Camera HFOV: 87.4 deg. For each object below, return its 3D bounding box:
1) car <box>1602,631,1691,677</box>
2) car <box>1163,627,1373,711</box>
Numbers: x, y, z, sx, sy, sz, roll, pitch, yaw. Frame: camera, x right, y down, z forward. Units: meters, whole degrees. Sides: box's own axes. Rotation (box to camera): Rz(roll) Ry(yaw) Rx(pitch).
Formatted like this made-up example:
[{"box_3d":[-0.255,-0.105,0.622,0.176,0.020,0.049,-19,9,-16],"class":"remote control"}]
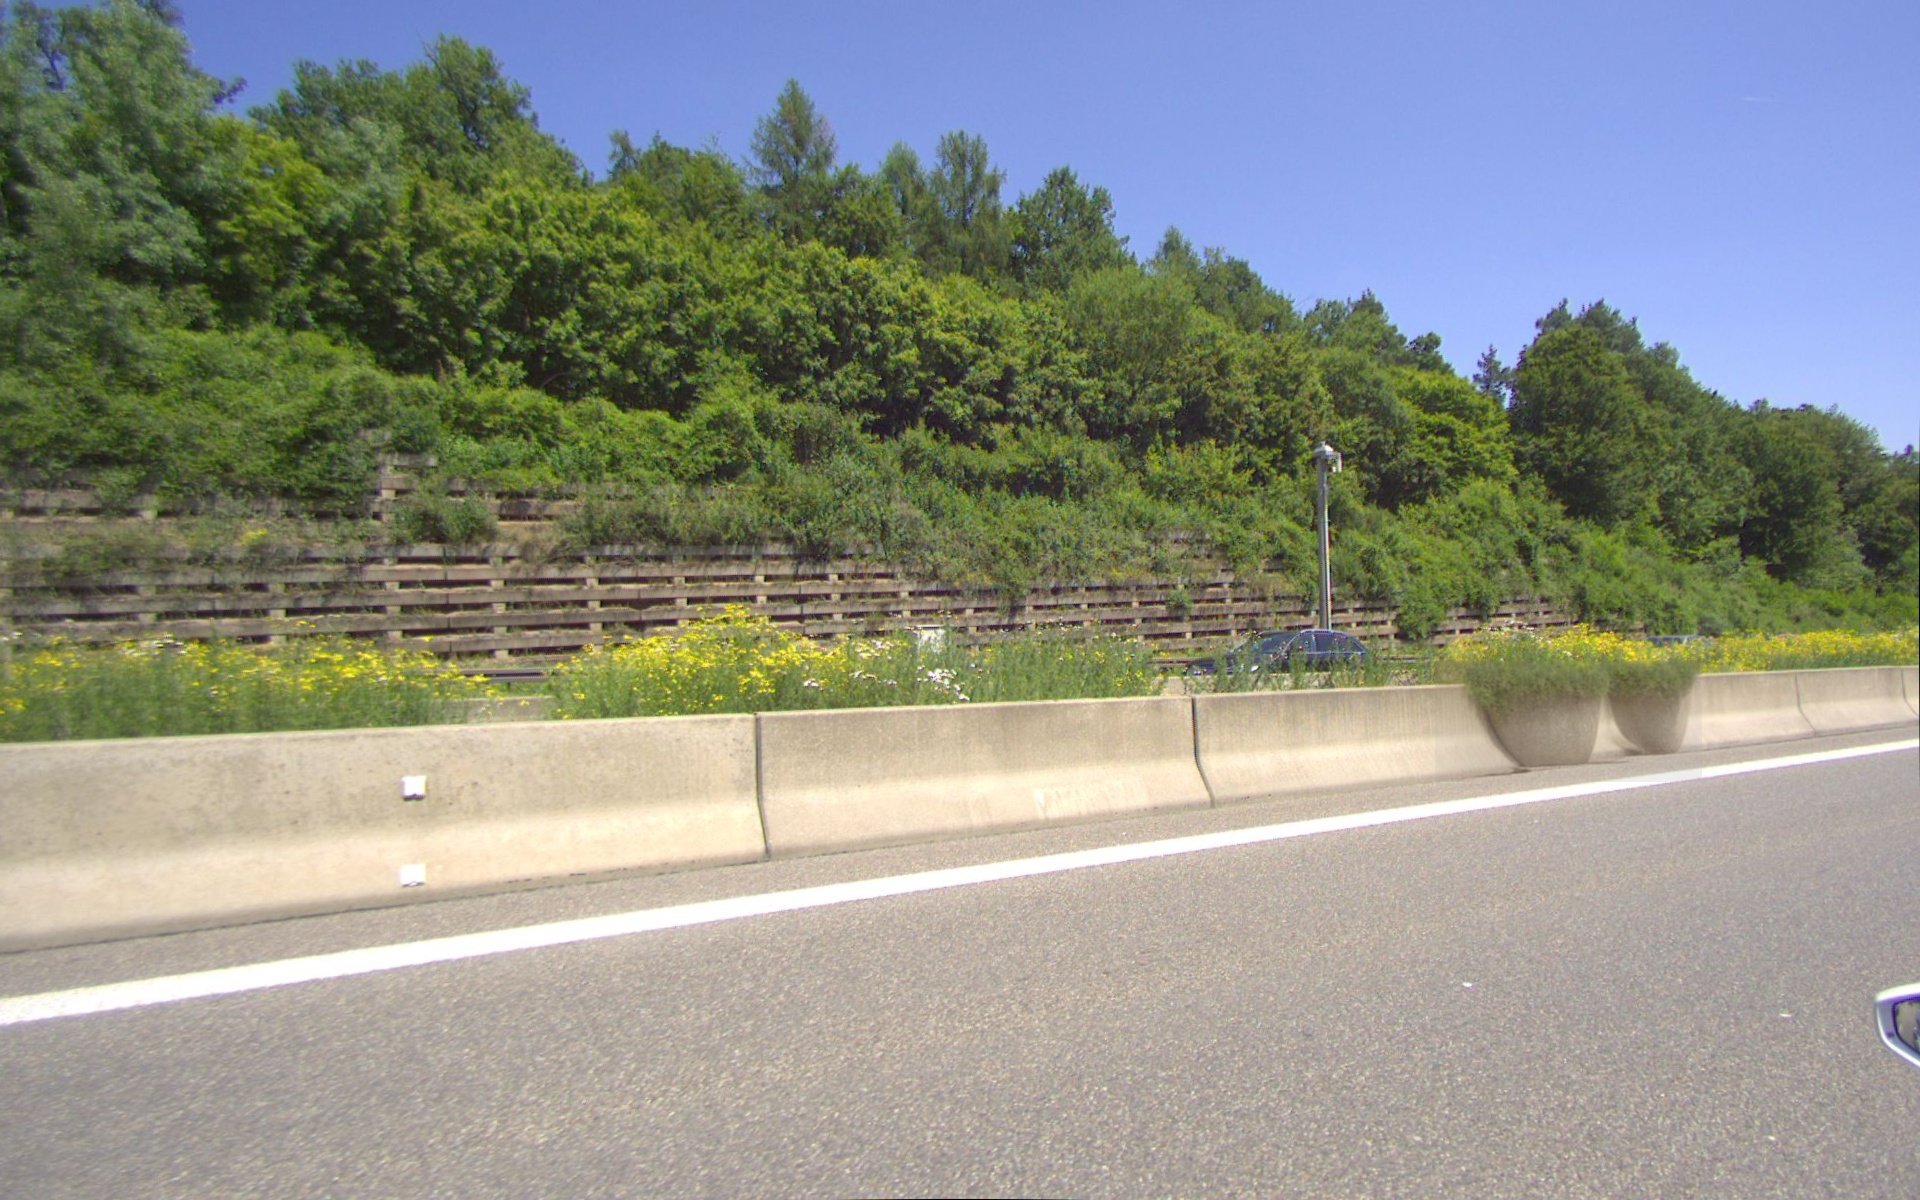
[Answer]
[{"box_3d":[24.066,1.865,35.199,3.117,1.542,1.432,1,-1,-31],"class":"car"},{"box_3d":[6.281,1.335,20.387,4.155,1.542,1.779,1,-1,-31],"class":"car"}]
